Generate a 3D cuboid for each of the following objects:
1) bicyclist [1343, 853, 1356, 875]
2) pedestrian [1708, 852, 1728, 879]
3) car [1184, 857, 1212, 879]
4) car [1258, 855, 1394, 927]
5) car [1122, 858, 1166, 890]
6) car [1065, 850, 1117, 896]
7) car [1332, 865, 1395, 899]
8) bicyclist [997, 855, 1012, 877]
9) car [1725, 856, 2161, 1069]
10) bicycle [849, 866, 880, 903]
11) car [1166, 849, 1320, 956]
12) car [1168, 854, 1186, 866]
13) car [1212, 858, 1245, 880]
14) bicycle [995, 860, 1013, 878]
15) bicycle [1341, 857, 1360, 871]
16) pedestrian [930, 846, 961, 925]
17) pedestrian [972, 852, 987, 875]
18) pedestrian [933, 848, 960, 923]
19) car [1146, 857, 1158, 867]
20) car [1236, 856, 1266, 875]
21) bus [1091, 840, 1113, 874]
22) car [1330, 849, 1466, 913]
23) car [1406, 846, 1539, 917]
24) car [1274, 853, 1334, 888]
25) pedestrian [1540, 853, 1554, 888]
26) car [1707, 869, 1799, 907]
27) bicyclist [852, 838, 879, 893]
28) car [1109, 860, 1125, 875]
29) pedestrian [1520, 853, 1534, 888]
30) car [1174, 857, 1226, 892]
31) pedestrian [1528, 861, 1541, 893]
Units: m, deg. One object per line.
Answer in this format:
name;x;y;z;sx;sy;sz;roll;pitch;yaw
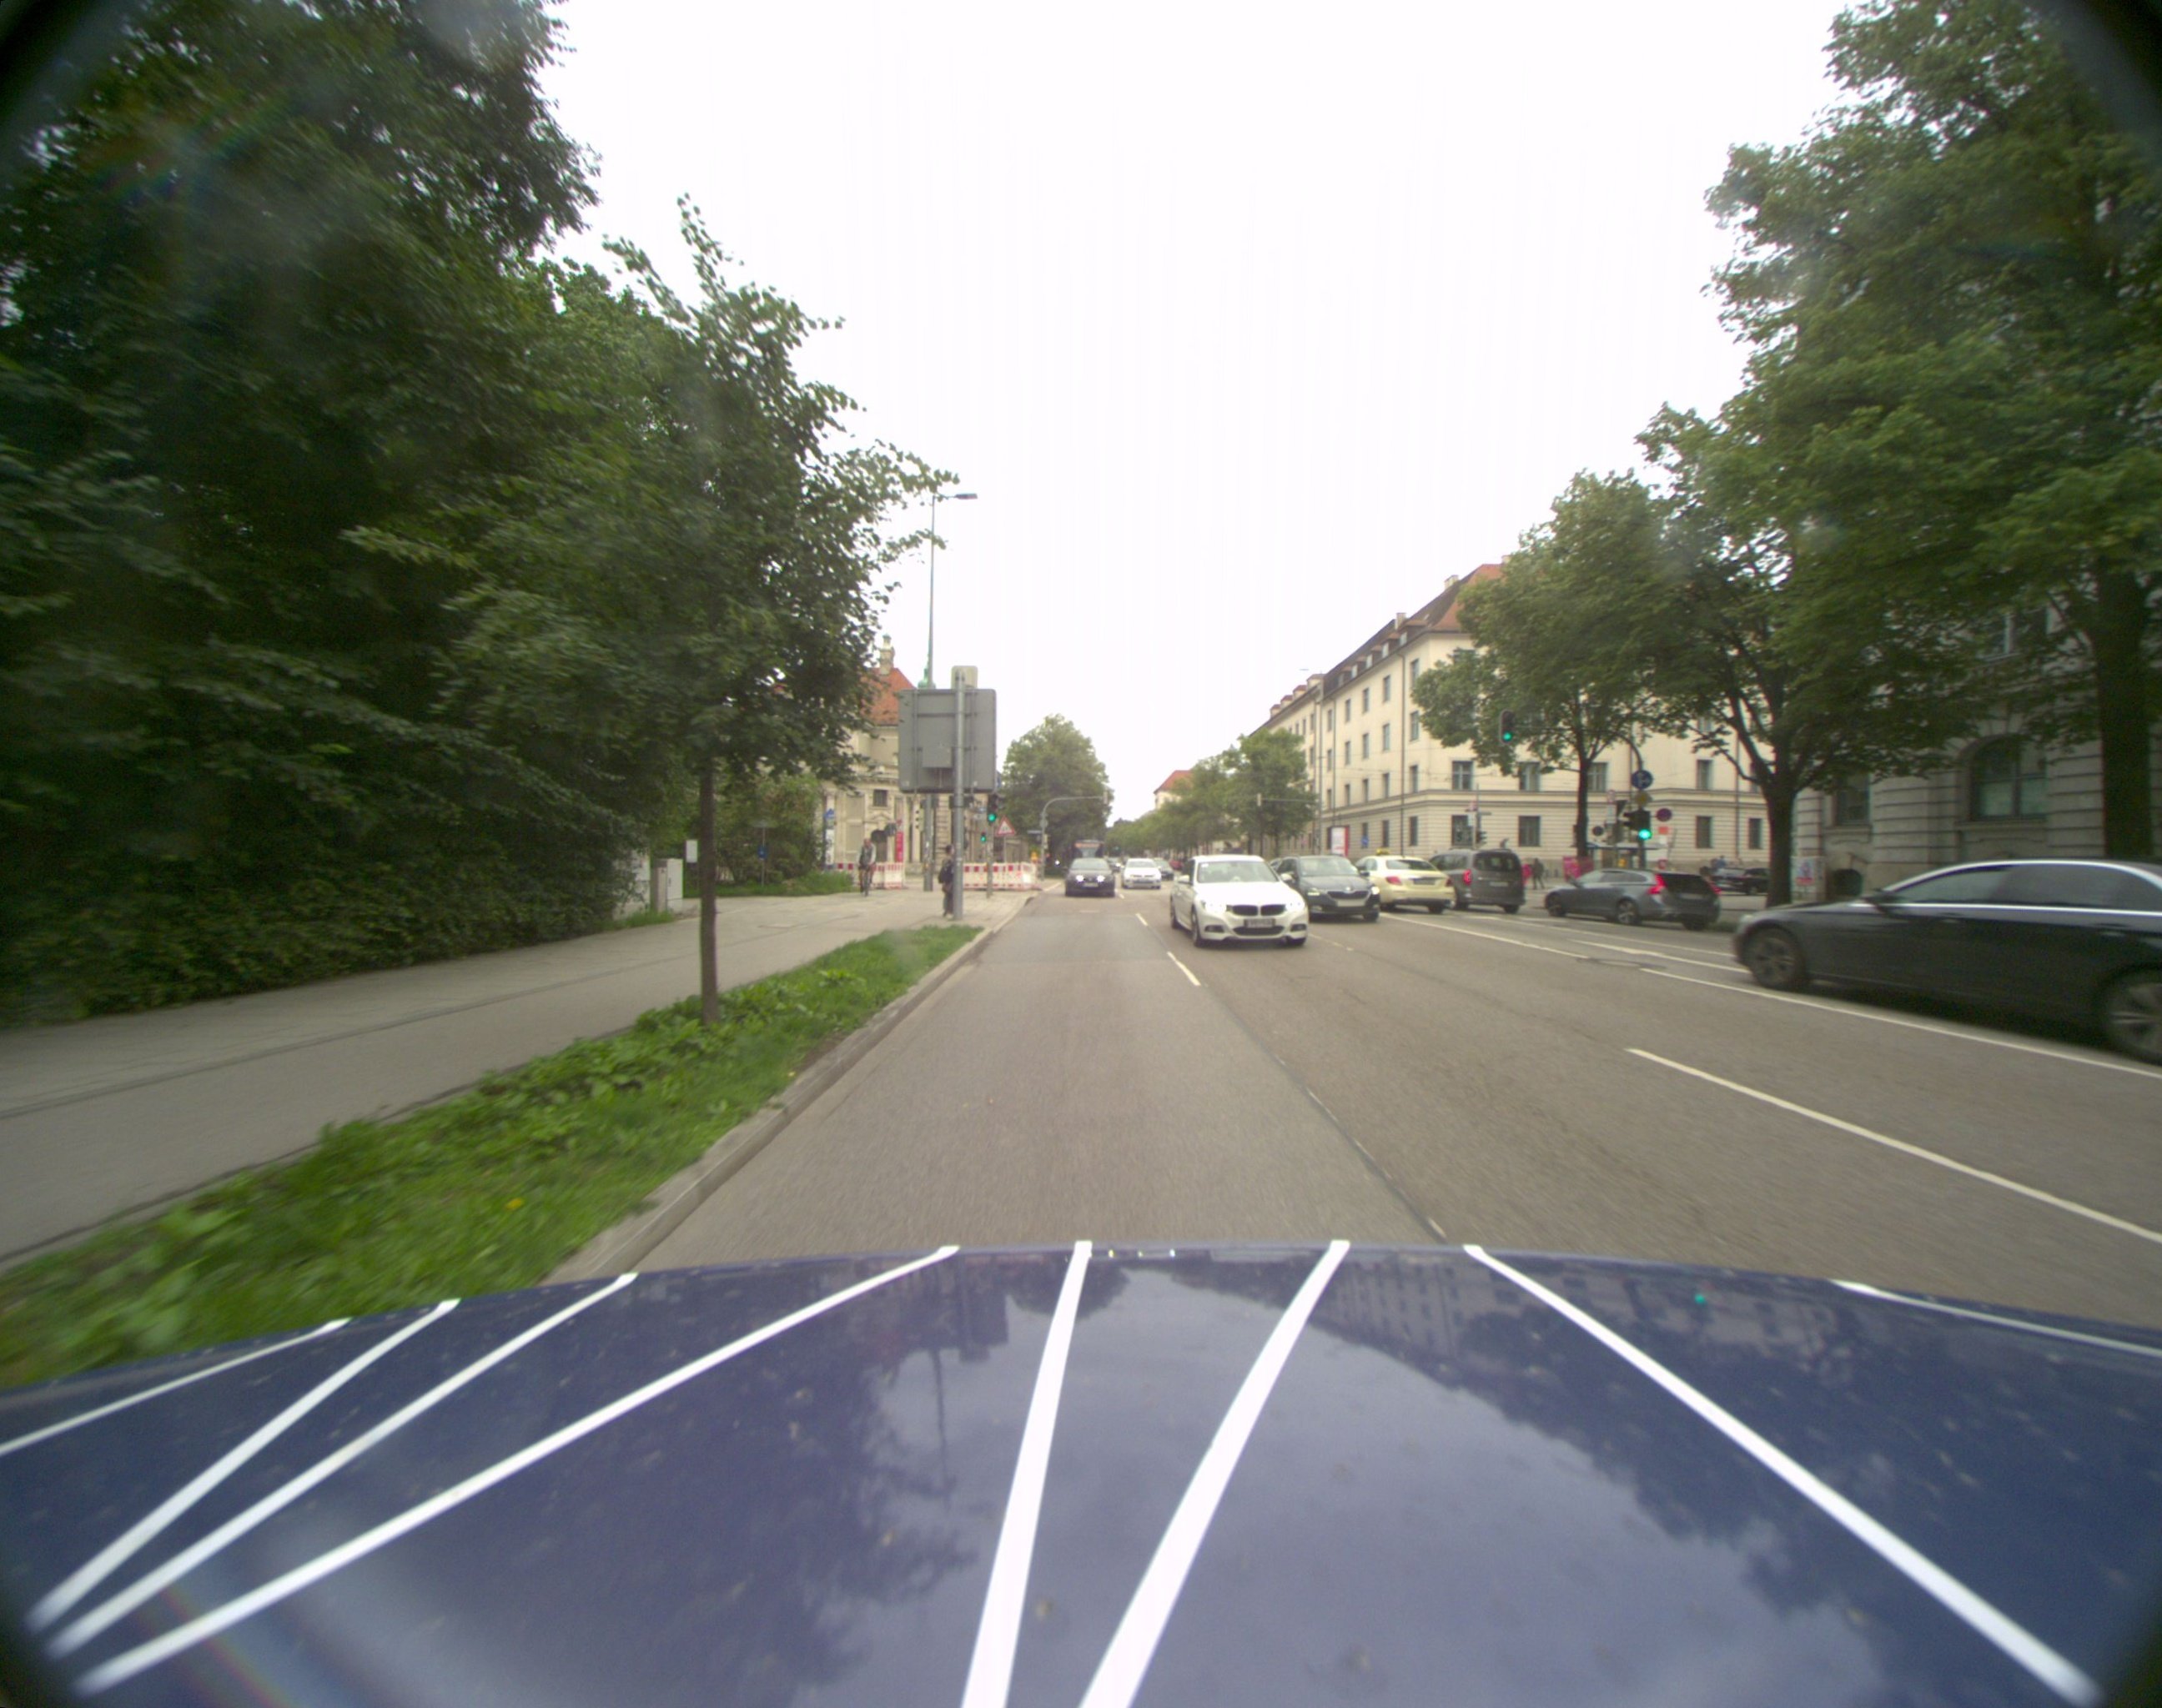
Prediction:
bicyclist;20.015;0.749;56.712;0.661;1.569;0.892;-1;1;1
pedestrian;44.156;0.810;52.635;0.807;1.841;0.660;-1;1;1
car;8.912;1.049;58.118;1.638;1.562;3.946;0;0;1
car;5.527;0.767;17.729;1.797;1.439;4.274;0;0;0
car;2.987;0.920;36.817;1.797;1.439;4.274;0;0;0
car;0.354;0.657;28.916;1.797;1.627;4.274;0;0;0
car;14.322;1.372;38.794;1.739;1.567;4.056;0;0;1
bicyclist;-4.519;0.695;44.965;0.808;1.305;0.893;-1;0;1
car;8.166;0.757;6.221;1.771;1.415;4.747;2;0;1
bicycle;-6.716;0.918;23.660;0.740;1.051;2.160;-1;0;-12
car;2.743;0.722;14.076;1.797;1.627;5.026;0;0;0
car;12.317;0.789;97.818;1.757;1.521;4.227;0;0;1
car;11.562;1.157;59.750;1.748;1.586;4.000;2;0;0
bicycle;-4.539;0.870;45.016;0.830;1.001;2.058;-1;0;1
bicycle;20.022;0.743;56.545;0.663;0.982;2.181;-1;0;1
pedestrian;-3.061;0.701;17.190;0.626;1.750;0.635;0;1;-4
pedestrian;-8.065;0.729;60.352;1.067;1.754;0.774;-1;1;0
pedestrian;-3.200;0.728;18.092;0.611;1.750;0.635;0;1;-10
car;12.340;1.367;132.062;1.683;1.630;4.165;0;0;1
car;14.504;0.981;65.077;1.739;1.567;4.056;0;0;1
bus;1.654;0.222;61.535;1.638;2.570;6.702;0;0;1
car;8.438;0.724;20.759;1.832;1.532;4.825;0;-2;2
car;11.531;0.728;22.750;1.832;1.740;4.259;3;2;3
car;11.549;0.823;39.628;1.844;1.646;4.350;2;0;1
pedestrian;24.961;0.890;40.693;0.502;1.844;0.470;0;1;19
car;32.099;1.607;36.320;3.576;1.720;1.691;0;0;-18
bicyclist;-6.719;0.352;23.713;0.759;1.657;0.898;-1;1;-14
car;3.870;1.480;82.009;1.638;1.562;3.946;0;0;1
pedestrian;23.772;0.865;40.496;0.502;1.844;0.528;0;1;19
car;5.509;0.908;35.644;1.696;1.507;4.338;0;0;-1
pedestrian;24.349;1.228;40.776;0.502;1.729;0.470;0;1;19
